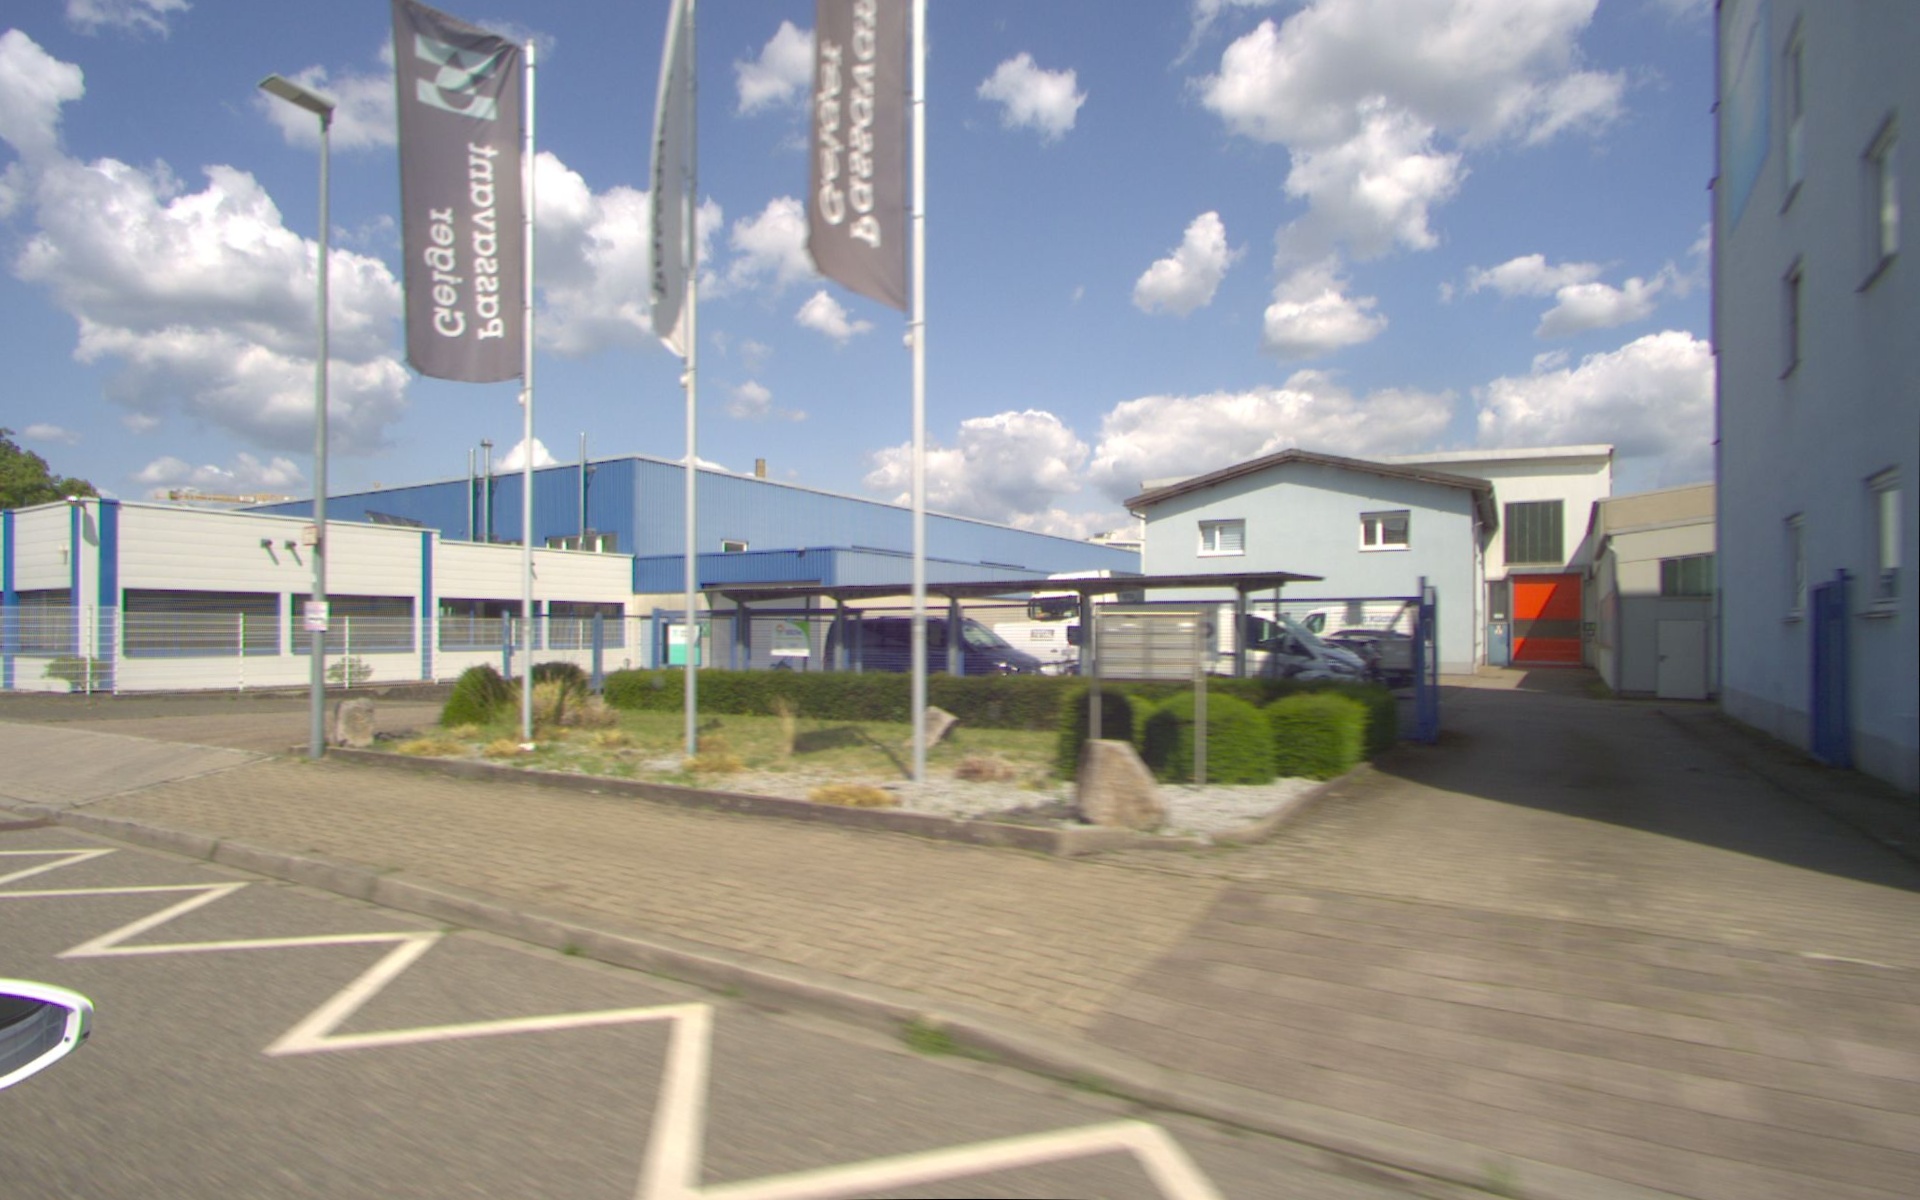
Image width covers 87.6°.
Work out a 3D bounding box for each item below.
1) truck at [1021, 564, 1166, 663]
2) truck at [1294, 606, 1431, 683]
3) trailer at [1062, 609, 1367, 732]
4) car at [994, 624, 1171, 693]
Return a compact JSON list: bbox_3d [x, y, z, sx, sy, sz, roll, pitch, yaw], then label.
[{"bbox_3d":[6.331,0.647,45.686,2.592,4.050,9.610,-1,-1,34],"label":"truck"},{"bbox_3d":[13.366,1.494,33.268,3.943,2.393,1.991,-2,-3,32],"label":"truck"},{"bbox_3d":[4.590,1.231,18.349,5.196,2.010,1.685,-1,-2,28],"label":"trailer"},{"bbox_3d":[3.475,1.651,28.572,4.640,1.827,1.992,-1,-3,30],"label":"car"}]
